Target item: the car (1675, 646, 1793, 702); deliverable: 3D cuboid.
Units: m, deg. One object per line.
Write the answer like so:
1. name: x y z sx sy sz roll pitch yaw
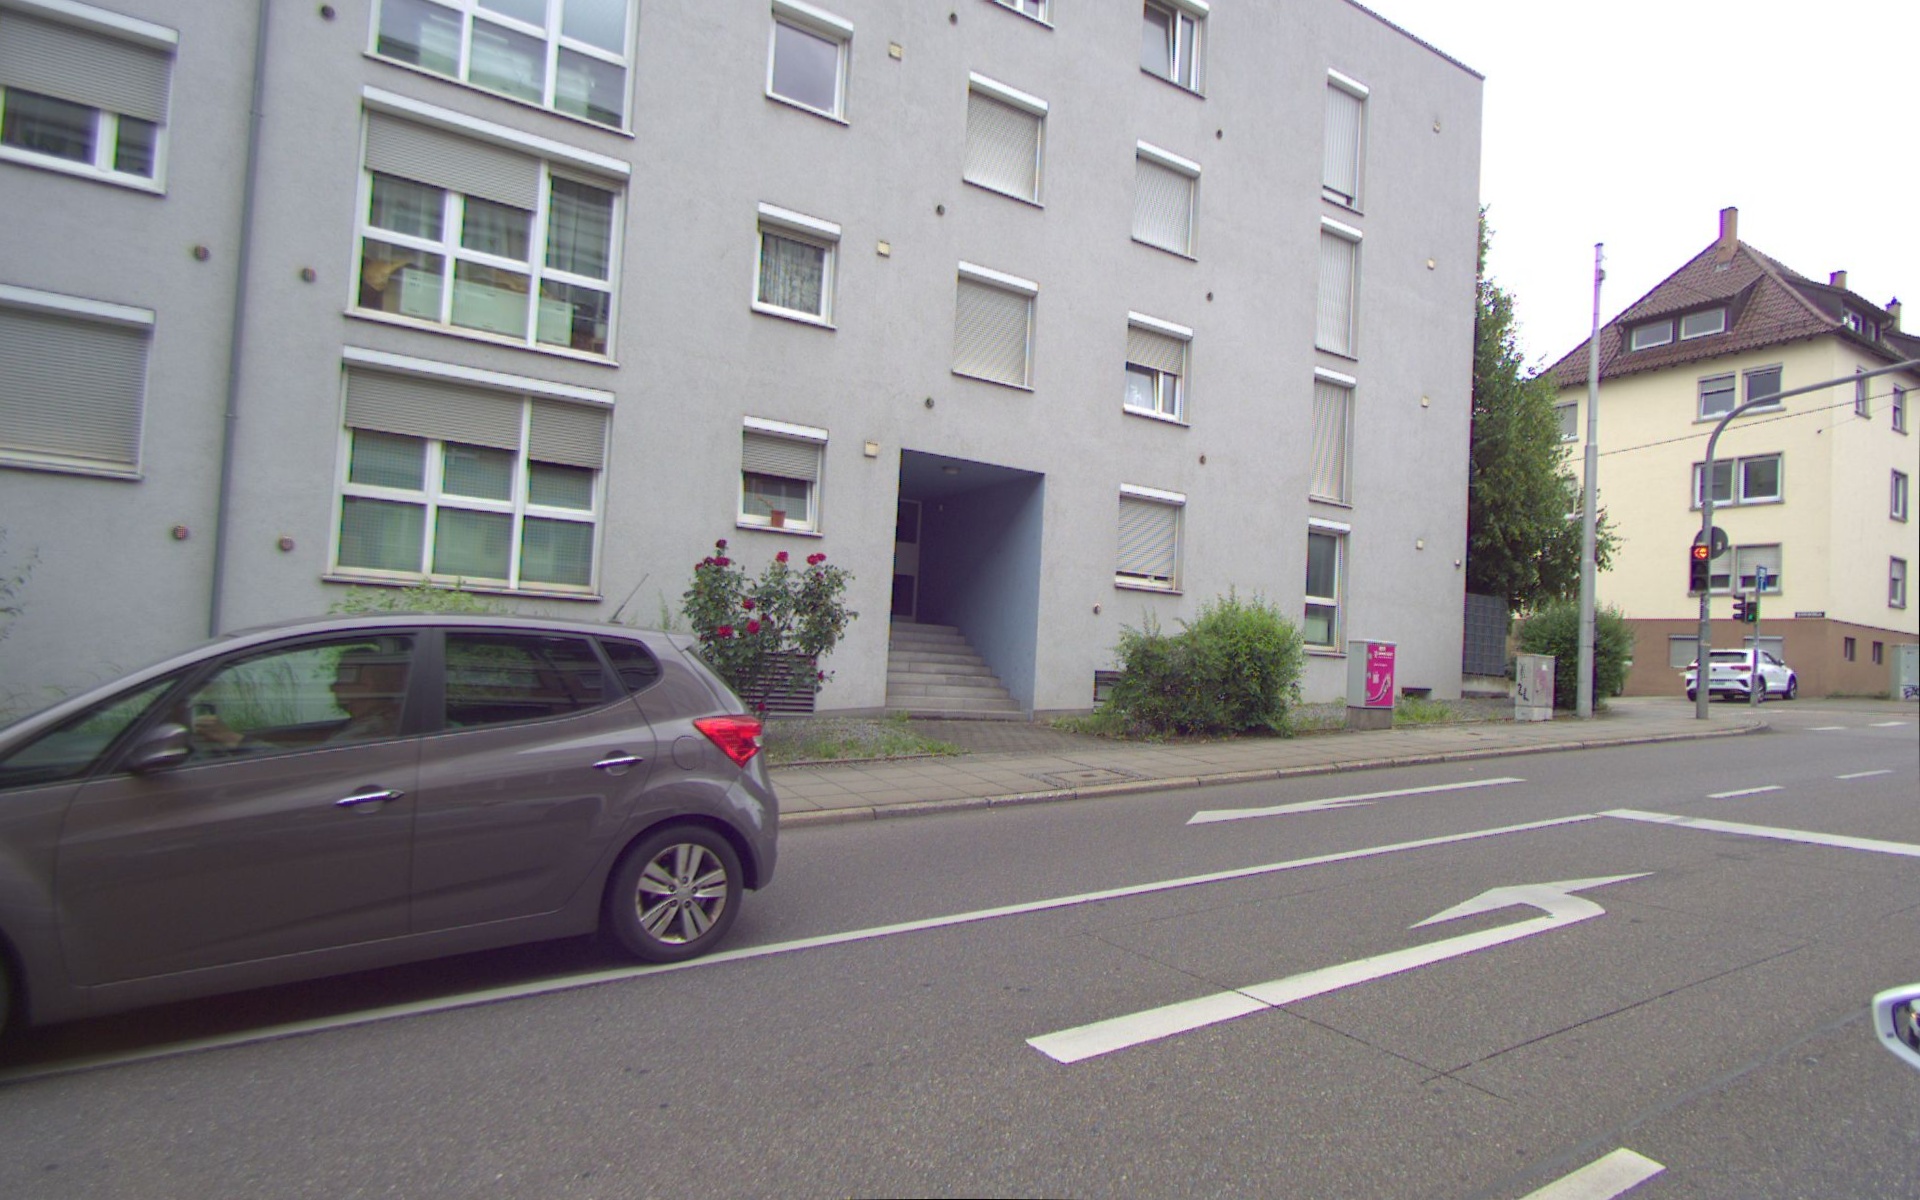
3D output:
1. car: 23.258 2.182 30.162 3.727 1.575 1.681 1 -4 -34

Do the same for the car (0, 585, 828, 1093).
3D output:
1. car: -2.713 0.827 4.503 3.898 1.607 1.692 2 -4 -36

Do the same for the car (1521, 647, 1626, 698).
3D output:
1. car: 21.231 2.469 34.709 3.727 1.629 1.681 1 -4 -34
